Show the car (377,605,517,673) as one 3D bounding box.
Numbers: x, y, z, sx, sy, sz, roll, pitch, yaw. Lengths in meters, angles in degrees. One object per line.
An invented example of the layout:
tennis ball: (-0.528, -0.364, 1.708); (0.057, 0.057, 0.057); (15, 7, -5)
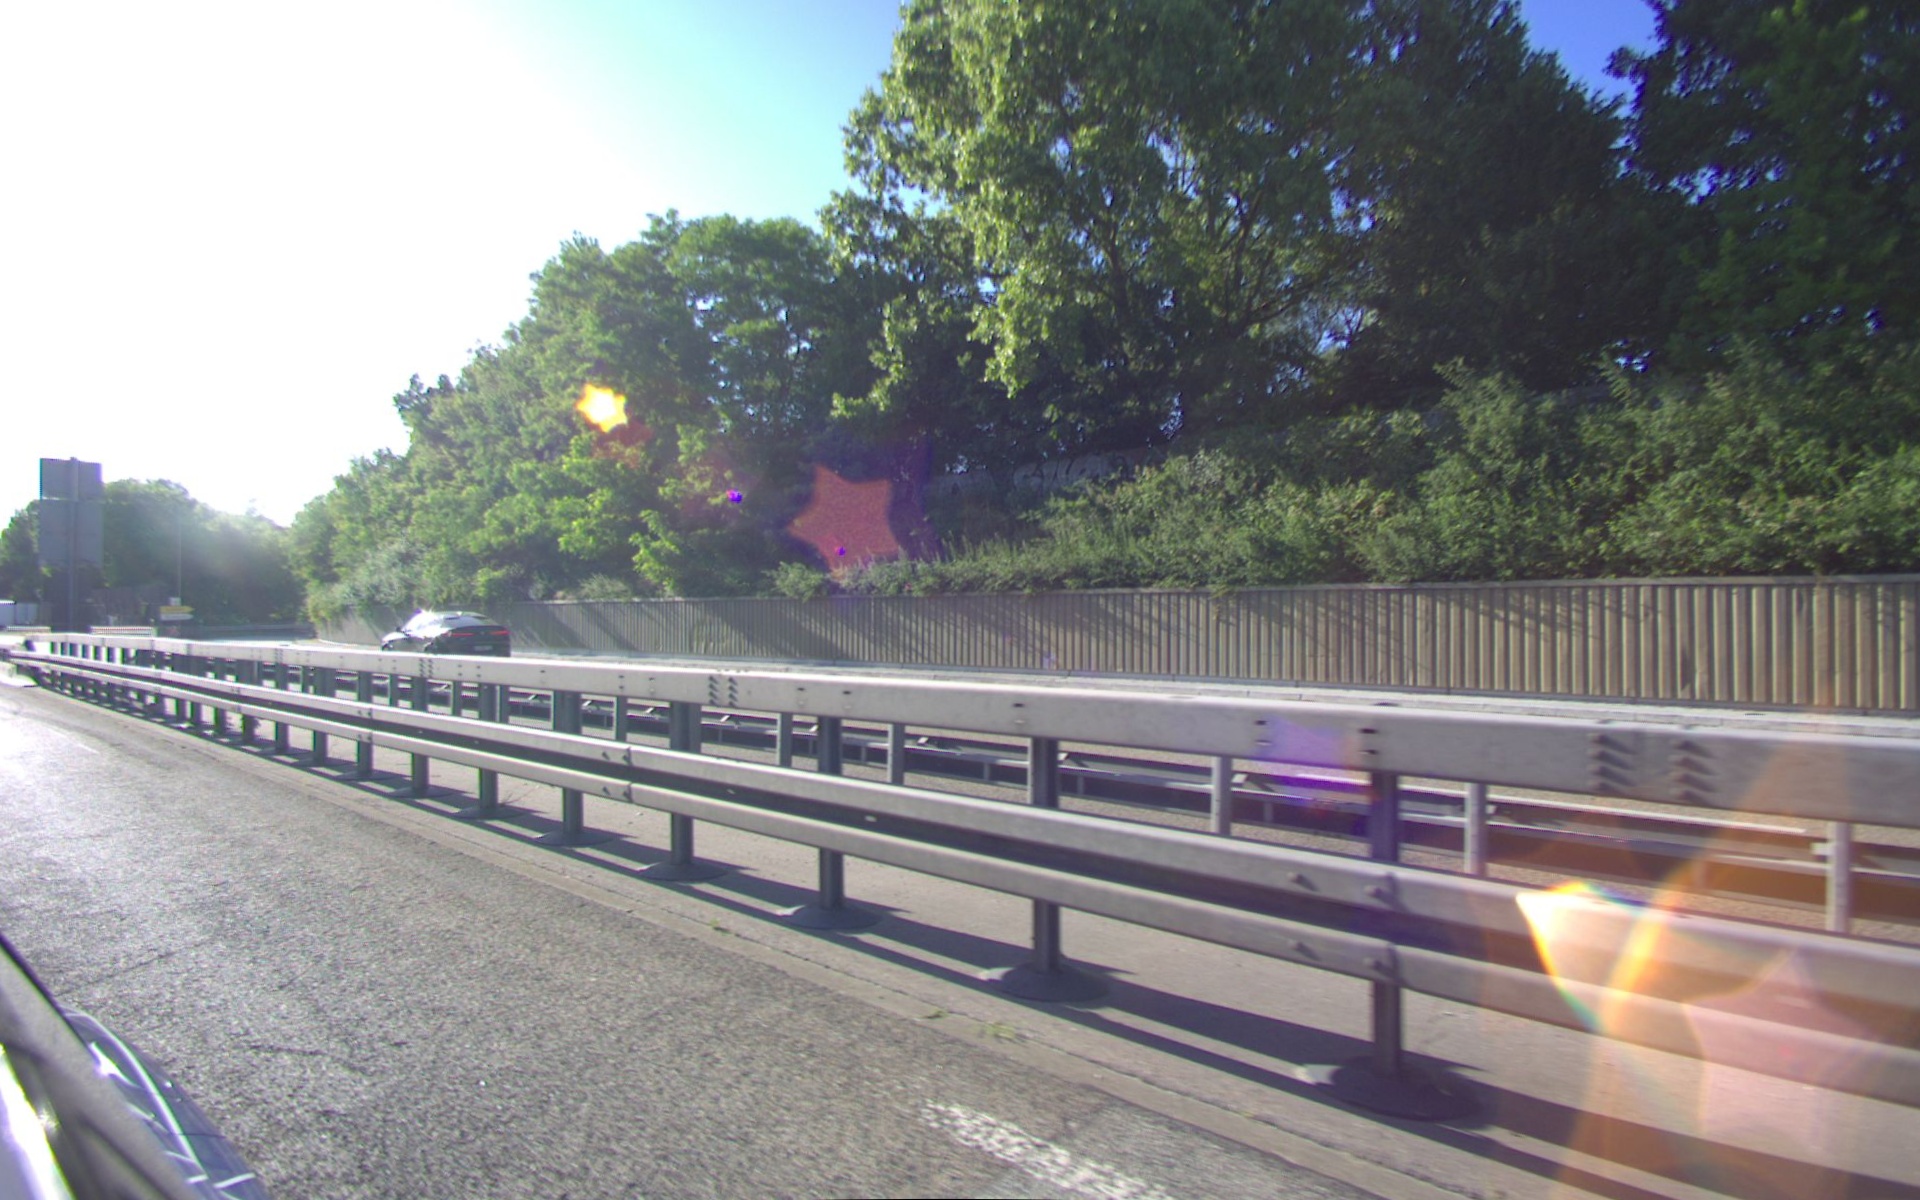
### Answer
car: (-14.263, 1.065, 28.025); (4.859, 1.688, 1.650); (-2, 1, 40)
